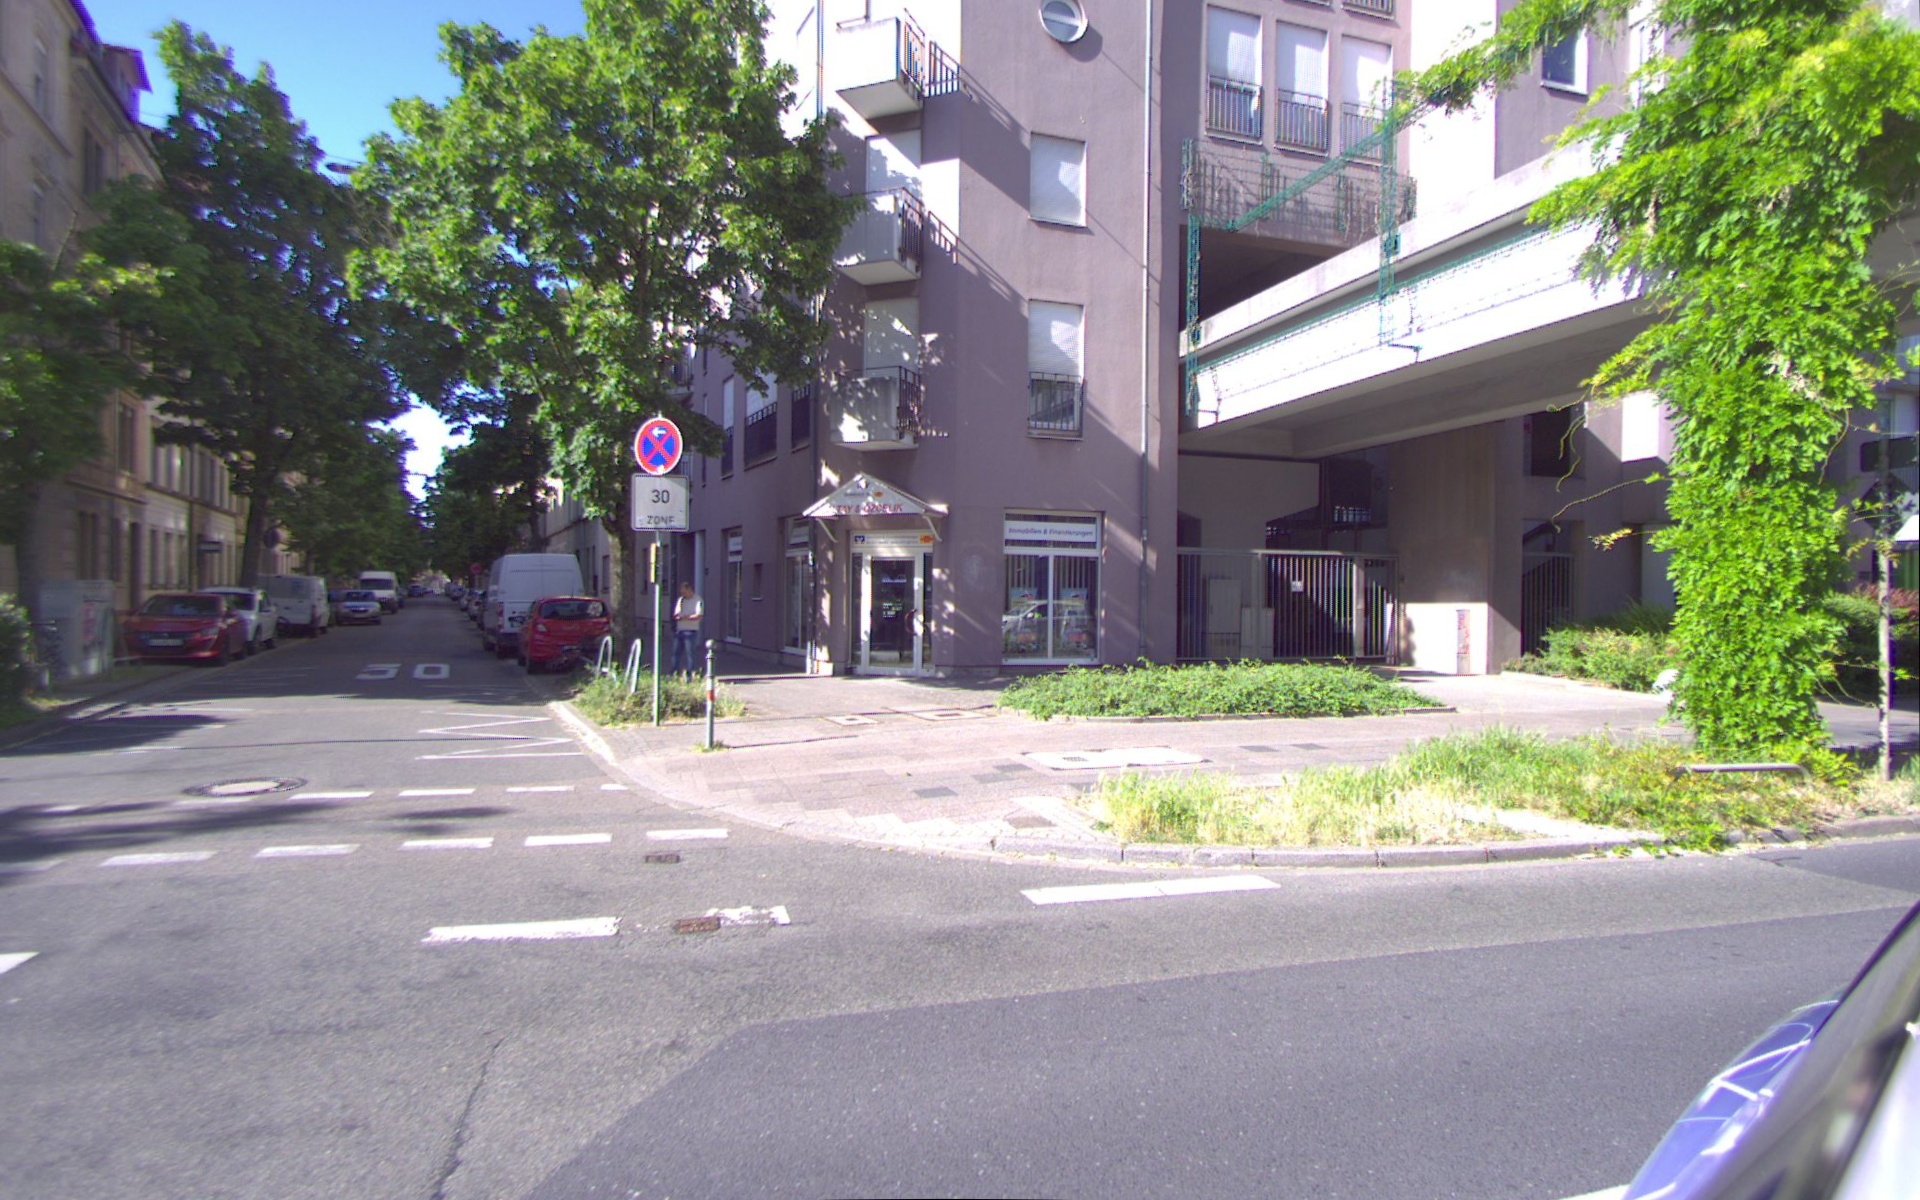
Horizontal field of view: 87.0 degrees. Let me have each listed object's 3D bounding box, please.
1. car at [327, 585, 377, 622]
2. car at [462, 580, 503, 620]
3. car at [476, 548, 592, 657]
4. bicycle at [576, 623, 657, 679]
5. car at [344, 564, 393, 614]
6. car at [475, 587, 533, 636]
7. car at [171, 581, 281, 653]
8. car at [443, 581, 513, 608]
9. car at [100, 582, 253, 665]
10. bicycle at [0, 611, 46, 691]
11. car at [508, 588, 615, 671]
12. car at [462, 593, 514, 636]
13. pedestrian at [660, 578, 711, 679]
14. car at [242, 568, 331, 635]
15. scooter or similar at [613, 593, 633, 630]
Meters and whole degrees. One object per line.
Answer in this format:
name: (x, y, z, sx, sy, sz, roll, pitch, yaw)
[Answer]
car: (-25.940, 0.142, 43.261, 1.660, 1.492, 4.004, 0, 0, -29)
car: (-23.572, -0.008, 49.931, 1.741, 1.905, 4.006, 0, 0, -26)
car: (-10.977, 0.010, 25.866, 2.176, 2.482, 5.101, 0, 1, -29)
bicycle: (-5.418, 0.790, 15.986, 1.179, 0.833, 0.294, 0, 1, -28)
car: (-33.729, -0.592, 57.798, 2.230, 2.696, 4.326, 0, -1, -29)
car: (-16.005, 0.355, 35.467, 1.661, 1.576, 3.828, 0, 1, -27)
car: (-17.867, 0.391, 24.797, 1.660, 1.616, 4.004, 0, 0, -29)
car: (-30.165, -0.309, 63.329, 3.918, 1.607, 1.820, 0, -2, -28)
car: (-15.735, 0.461, 20.543, 1.742, 1.460, 4.004, 4, -2, -28)
bicycle: (-12.667, 0.659, 13.504, 0.385, 0.986, 1.315, 0, 1, -28)
car: (-8.198, 0.511, 20.637, 1.658, 1.481, 4.006, 0, 1, -27)
car: (-18.953, 0.540, 40.572, 1.749, 1.576, 3.828, 0, 1, -27)
pedestrian: (-4.409, 0.442, 16.260, 0.623, 1.596, 0.530, 1, 1, 7)
car: (-22.354, 0.054, 33.743, 1.956, 2.055, 4.309, 0, 0, -27)
scooter or similar: (-11.209, 0.366, 33.608, 0.412, 1.161, 1.376, -1, 1, -27)
